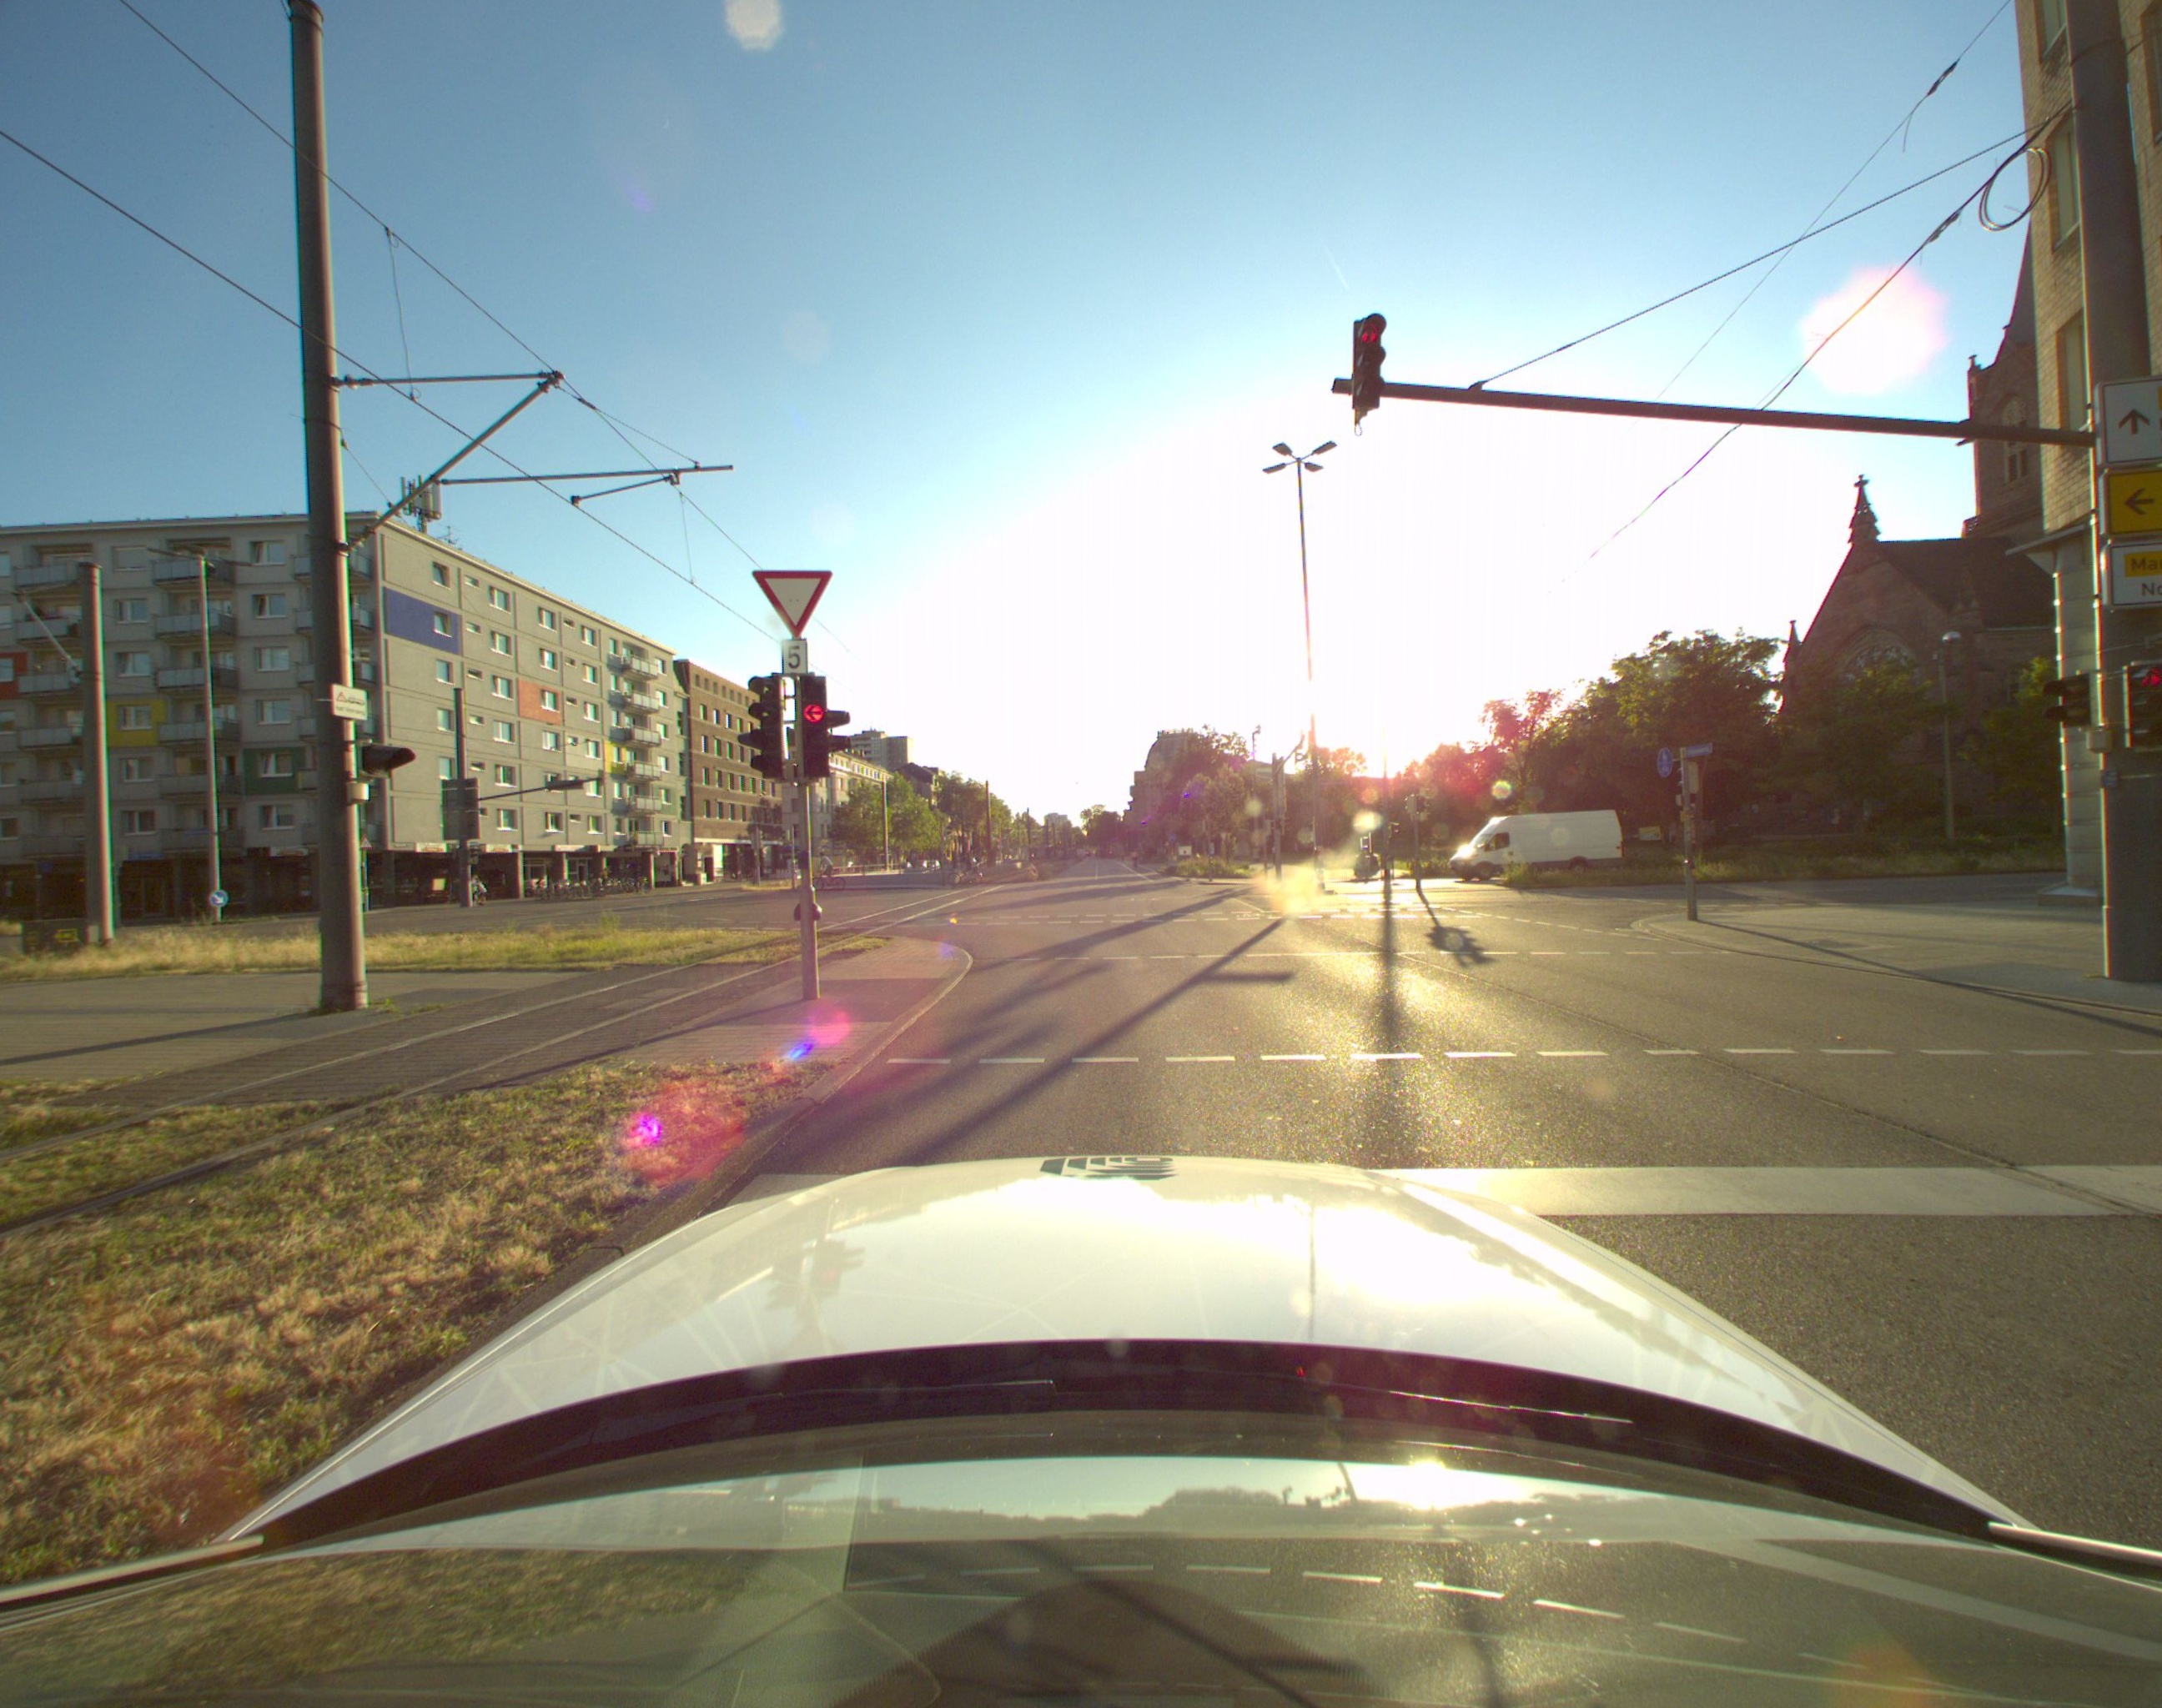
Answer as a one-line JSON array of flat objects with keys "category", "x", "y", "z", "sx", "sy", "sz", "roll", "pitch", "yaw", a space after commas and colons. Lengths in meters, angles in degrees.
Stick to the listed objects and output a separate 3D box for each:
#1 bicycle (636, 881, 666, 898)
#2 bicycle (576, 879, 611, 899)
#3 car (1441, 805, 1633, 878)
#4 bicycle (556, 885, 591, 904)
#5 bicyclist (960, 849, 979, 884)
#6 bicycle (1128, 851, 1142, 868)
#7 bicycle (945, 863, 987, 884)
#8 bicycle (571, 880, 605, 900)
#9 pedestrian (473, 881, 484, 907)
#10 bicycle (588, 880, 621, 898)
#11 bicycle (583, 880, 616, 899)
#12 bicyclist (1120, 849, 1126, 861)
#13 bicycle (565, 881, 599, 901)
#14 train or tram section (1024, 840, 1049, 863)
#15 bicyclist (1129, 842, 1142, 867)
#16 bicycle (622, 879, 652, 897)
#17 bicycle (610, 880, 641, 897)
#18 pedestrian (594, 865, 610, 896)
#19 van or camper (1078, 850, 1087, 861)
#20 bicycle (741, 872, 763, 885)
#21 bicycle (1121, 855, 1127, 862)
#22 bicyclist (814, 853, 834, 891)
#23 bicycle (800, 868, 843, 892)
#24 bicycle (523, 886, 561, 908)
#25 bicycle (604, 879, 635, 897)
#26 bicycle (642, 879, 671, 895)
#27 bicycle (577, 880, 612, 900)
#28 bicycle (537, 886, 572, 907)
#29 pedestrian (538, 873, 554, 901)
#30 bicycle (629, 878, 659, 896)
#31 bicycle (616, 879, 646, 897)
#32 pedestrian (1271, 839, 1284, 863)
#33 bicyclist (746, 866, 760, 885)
[{"category": "bicycle", "x": -30.848, "y": 2.535, "z": 58.413, "sx": 1.683, "sy": 1.170, "sz": 0.749, "roll": -2, "pitch": 0, "yaw": 3}, {"category": "bicycle", "x": -31.796, "y": 2.283, "z": 53.108, "sx": 1.824, "sy": 1.160, "sz": 0.640, "roll": -2, "pitch": 0, "yaw": 1}, {"category": "car", "x": 19.583, "y": -0.532, "z": 35.193, "sx": 6.981, "sy": 2.827, "sz": 2.095, "roll": -2, "pitch": 0, "yaw": 3}, {"category": "bicycle", "x": -31.459, "y": 2.501, "z": 50.484, "sx": 1.750, "sy": 1.139, "sz": 0.600, "roll": -2, "pitch": 0, "yaw": 2}, {"category": "bicyclist", "x": -5.923, "y": 0.650, "z": 43.245, "sx": 0.872, "sy": 1.818, "sz": 0.538, "roll": -2, "pitch": 0, "yaw": 3}, {"category": "bicycle", "x": 4.890, "y": 0.488, "z": 73.572, "sx": 1.094, "sy": 1.399, "sz": 2.833, "roll": -2, "pitch": 0, "yaw": 2}, {"category": "bicycle", "x": -6.103, "y": 1.026, "z": 43.259, "sx": 2.154, "sy": 1.083, "sz": 0.539, "roll": -2, "pitch": -1, "yaw": 3}, {"category": "bicycle", "x": -31.252, "y": 2.300, "z": 51.657, "sx": 1.762, "sy": 1.182, "sz": 0.568, "roll": -2, "pitch": 0, "yaw": 1}, {"category": "pedestrian", "x": -32.762, "y": 2.184, "z": 44.298, "sx": 0.383, "sy": 1.383, "sz": 0.392, "roll": -2, "pitch": 0, "yaw": -26}, {"category": "bicycle", "x": -31.839, "y": 2.352, "z": 54.425, "sx": 1.764, "sy": 1.136, "sz": 0.606, "roll": -2, "pitch": 0, "yaw": 2}, {"category": "bicycle", "x": -31.781, "y": 2.328, "z": 53.766, "sx": 1.769, "sy": 1.159, "sz": 0.606, "roll": -2, "pitch": 0, "yaw": 1}, {"category": "bicyclist", "x": 7.027, "y": 0.213, "z": 134.883, "sx": 0.922, "sy": 2.013, "sz": 0.851, "roll": -2, "pitch": 0, "yaw": 1}, {"category": "bicycle", "x": -31.293, "y": 2.291, "z": 51.057, "sx": 1.759, "sy": 1.167, "sz": 0.540, "roll": -2, "pitch": 0, "yaw": 2}, {"category": "train or tram section", "x": -8.446, "y": -0.598, "z": 156.306, "sx": 4.375, "sy": 3.849, "sz": 11.402, "roll": -2, "pitch": 2, "yaw": -2}, {"category": "bicyclist", "x": 4.872, "y": 0.047, "z": 73.484, "sx": 1.078, "sy": 2.276, "sz": 0.986, "roll": -2, "pitch": 0, "yaw": 1}, {"category": "bicycle", "x": -30.977, "y": 2.373, "z": 56.886, "sx": 1.683, "sy": 1.153, "sz": 0.706, "roll": -2, "pitch": 0, "yaw": 3}, {"category": "bicycle", "x": -31.100, "y": 2.340, "z": 55.563, "sx": 1.754, "sy": 1.119, "sz": 0.568, "roll": -2, "pitch": 0, "yaw": 2}, {"category": "pedestrian", "x": -34.572, "y": 1.904, "z": 58.839, "sx": 0.599, "sy": 2.178, "sz": 0.792, "roll": -2, "pitch": 0, "yaw": 1}, {"category": "van or camper", "x": 0.479, "y": 0.328, "z": 221.007, "sx": 2.441, "sy": 2.770, "sz": 5.600, "roll": -2, "pitch": 0, "yaw": 0}, {"category": "bicycle", "x": -26.324, "y": 1.961, "z": 65.231, "sx": 0.503, "sy": 0.944, "sz": 1.678, "roll": -2, "pitch": 0, "yaw": 28}, {"category": "bicycle", "x": 7.041, "y": 0.676, "z": 134.814, "sx": 0.921, "sy": 1.111, "sz": 2.334, "roll": -2, "pitch": 0, "yaw": 2}, {"category": "bicyclist", "x": -12.566, "y": 0.867, "z": 39.880, "sx": 0.793, "sy": 1.818, "sz": 0.644, "roll": -2, "pitch": 0, "yaw": -10}, {"category": "bicycle", "x": -12.663, "y": 1.261, "z": 39.845, "sx": 1.902, "sy": 1.075, "sz": 0.630, "roll": -2, "pitch": 0, "yaw": -11}, {"category": "bicycle", "x": -32.284, "y": 2.560, "z": 48.803, "sx": 1.788, "sy": 1.208, "sz": 0.638, "roll": -2, "pitch": 0, "yaw": 0}, {"category": "bicycle", "x": -31.134, "y": 2.318, "z": 54.977, "sx": 1.748, "sy": 1.117, "sz": 0.552, "roll": -2, "pitch": 0, "yaw": 2}, {"category": "bicycle", "x": -30.805, "y": 2.395, "z": 59.146, "sx": 1.683, "sy": 1.144, "sz": 0.697, "roll": -2, "pitch": 0, "yaw": 3}, {"category": "bicycle", "x": -31.239, "y": 2.309, "z": 52.304, "sx": 1.782, "sy": 1.191, "sz": 0.652, "roll": -2, "pitch": 0, "yaw": 1}, {"category": "bicycle", "x": -32.233, "y": 2.598, "z": 49.872, "sx": 1.770, "sy": 1.142, "sz": 0.608, "roll": -2, "pitch": 0, "yaw": 1}, {"category": "pedestrian", "x": -33.198, "y": 2.057, "z": 50.524, "sx": 0.578, "sy": 1.684, "sz": 0.546, "roll": -2, "pitch": 0, "yaw": -2}, {"category": "bicycle", "x": -30.931, "y": 2.358, "z": 57.641, "sx": 1.683, "sy": 1.179, "sz": 0.749, "roll": -2, "pitch": 0, "yaw": 3}, {"category": "bicycle", "x": -31.037, "y": 2.352, "z": 56.195, "sx": 1.719, "sy": 1.124, "sz": 0.634, "roll": -2, "pitch": -1, "yaw": 3}, {"category": "pedestrian", "x": 15.225, "y": -0.215, "z": 63.124, "sx": 0.826, "sy": 1.803, "sz": 0.814, "roll": -2, "pitch": 0, "yaw": 17}, {"category": "bicyclist", "x": -26.284, "y": 1.717, "z": 65.331, "sx": 0.494, "sy": 1.426, "sz": 0.863, "roll": -2, "pitch": 0, "yaw": 28}]
